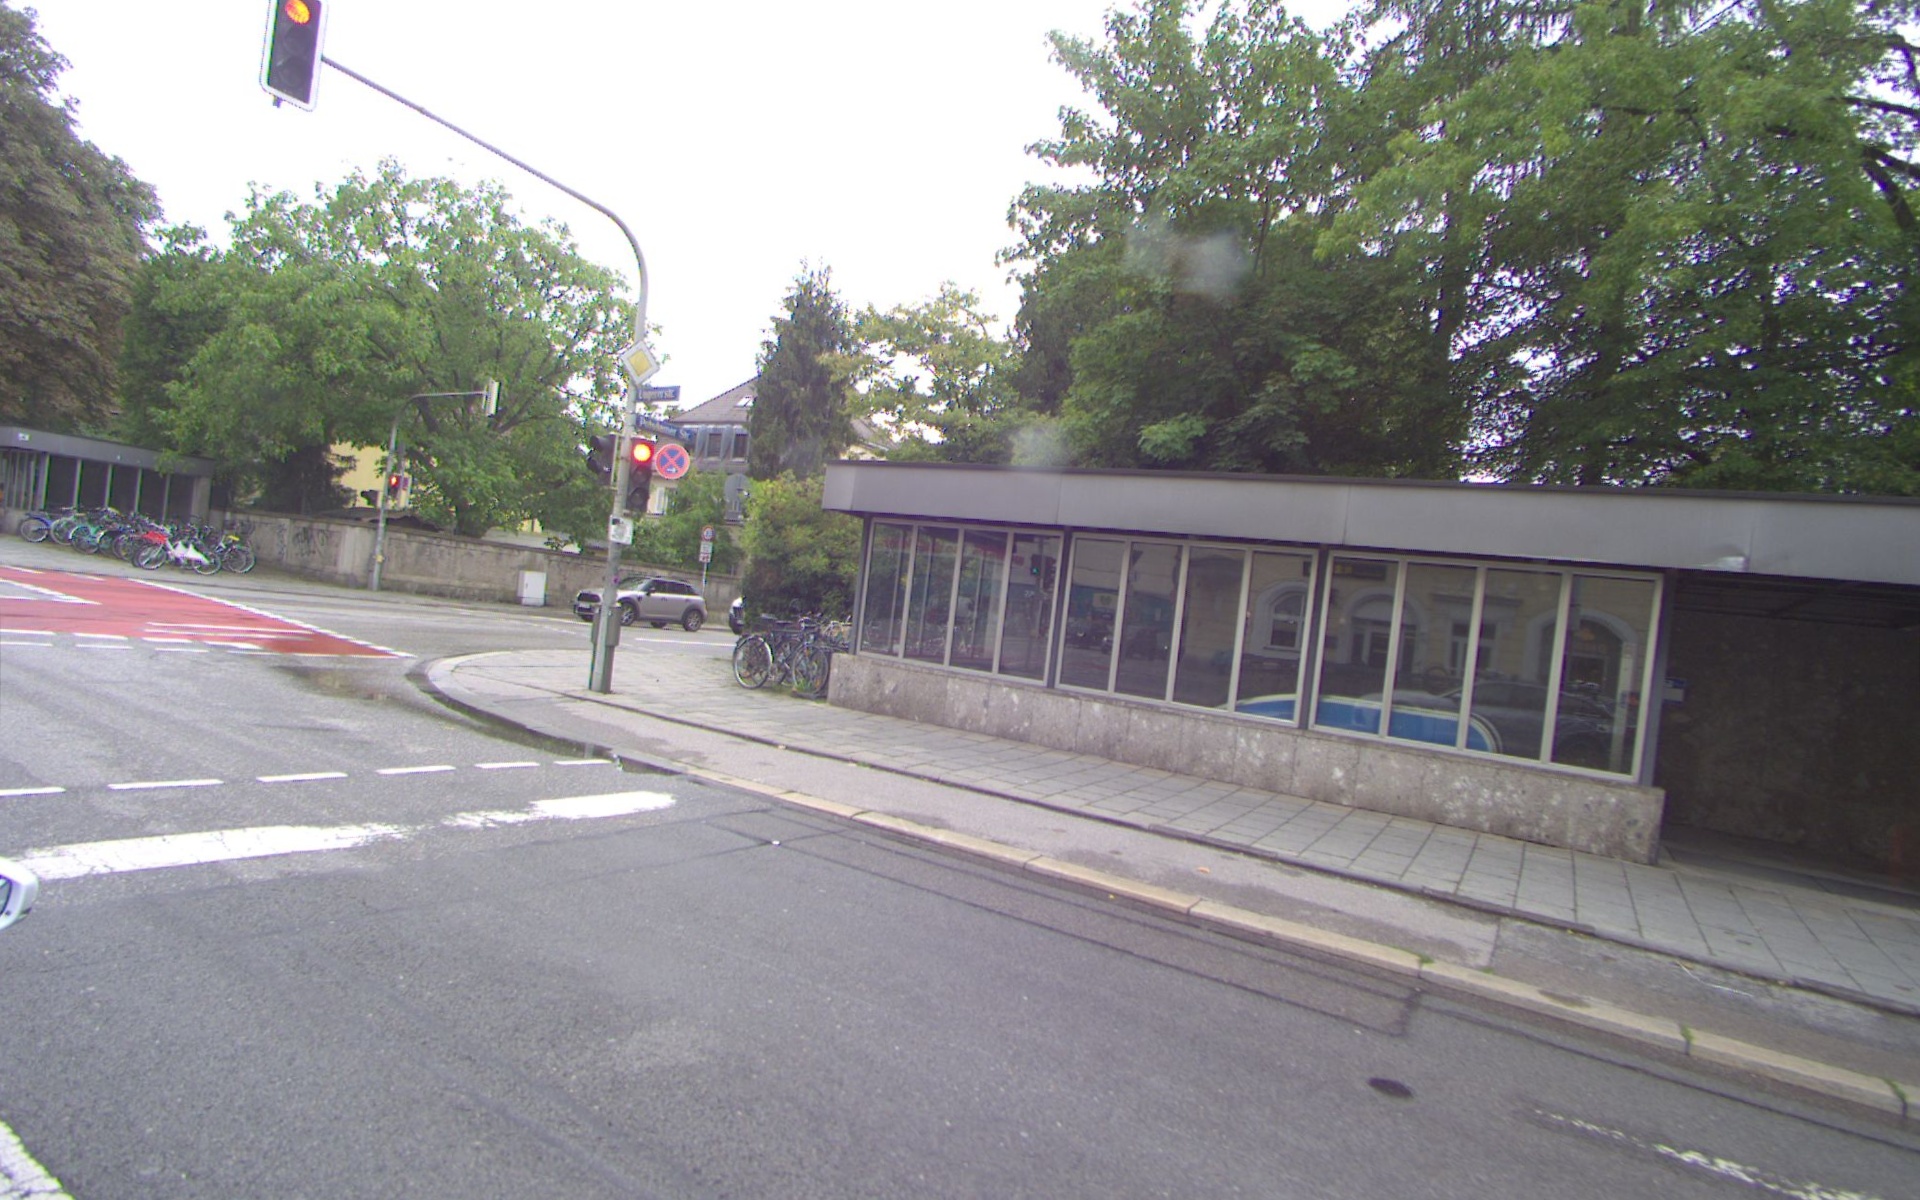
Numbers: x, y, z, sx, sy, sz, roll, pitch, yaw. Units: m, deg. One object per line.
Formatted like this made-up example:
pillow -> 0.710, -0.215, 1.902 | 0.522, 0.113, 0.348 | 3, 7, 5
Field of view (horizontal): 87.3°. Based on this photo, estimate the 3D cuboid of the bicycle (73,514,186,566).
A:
bicycle -> -21.755, -1.554, 26.390 | 0.594, 1.026, 2.141 | 7, 0, 39

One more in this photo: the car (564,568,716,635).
car -> -9.699, 0.082, 30.798 | 1.668, 1.532, 4.171 | 7, -1, 34

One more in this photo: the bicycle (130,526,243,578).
bicycle -> -19.707, -1.210, 25.679 | 0.625, 1.026, 2.141 | 7, 0, 40

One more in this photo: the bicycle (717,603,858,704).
bicycle -> -2.356, 0.704, 13.637 | 1.859, 1.135, 0.600 | 6, 0, 32

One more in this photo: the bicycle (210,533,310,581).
bicycle -> -19.505, -1.180, 28.076 | 0.625, 1.026, 2.141 | 7, 0, 40

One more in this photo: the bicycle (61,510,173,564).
bicycle -> -22.376, -1.664, 26.733 | 0.594, 1.099, 2.141 | 7, 0, 39

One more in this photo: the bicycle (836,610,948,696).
bicycle -> -1.078, 0.819, 15.763 | 1.707, 1.135, 0.469 | 6, 0, 32

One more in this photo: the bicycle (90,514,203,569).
bicycle -> -21.092, -1.491, 26.129 | 0.594, 1.114, 2.141 | 7, 0, 39

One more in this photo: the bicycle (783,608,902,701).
bicycle -> -1.732, 0.783, 14.703 | 1.707, 1.135, 0.469 | 6, 0, 32

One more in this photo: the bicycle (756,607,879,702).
bicycle -> -2.030, 0.751, 14.206 | 1.707, 1.135, 0.469 | 6, 0, 32

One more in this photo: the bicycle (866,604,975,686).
bicycle -> -0.659, 0.730, 16.408 | 1.707, 1.135, 0.469 | 6, 0, 32

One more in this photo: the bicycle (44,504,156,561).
bicycle -> -23.051, -1.796, 27.004 | 0.594, 1.192, 2.141 | 7, 0, 39

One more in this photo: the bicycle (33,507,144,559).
bicycle -> -23.656, -1.806, 27.342 | 0.594, 1.075, 2.141 | 7, 0, 39

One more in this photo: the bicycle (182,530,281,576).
bicycle -> -20.841, -1.334, 28.821 | 0.625, 1.026, 2.141 | 7, 0, 40

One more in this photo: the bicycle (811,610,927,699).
bicycle -> -1.391, 0.816, 15.250 | 1.707, 1.135, 0.469 | 6, 0, 32

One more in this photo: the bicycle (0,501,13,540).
bicycle -> -27.649, -2.330, 28.522 | 1.981, 1.027, 0.557 | 7, 0, 30

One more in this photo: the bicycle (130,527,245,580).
bicycle -> -19.295, -1.154, 25.185 | 0.594, 1.026, 2.141 | 7, 0, 39

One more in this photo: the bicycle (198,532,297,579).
bicycle -> -20.140, -1.250, 28.479 | 0.625, 1.026, 2.141 | 7, 0, 40

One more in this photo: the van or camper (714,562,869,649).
van or camper -> -5.913, 0.273, 36.098 | 2.034, 2.499, 5.558 | 7, -1, 33

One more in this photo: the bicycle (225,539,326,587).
bicycle -> -18.829, -1.000, 27.707 | 0.625, 1.026, 2.141 | 7, 0, 40

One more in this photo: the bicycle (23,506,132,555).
bicycle -> -24.369, -1.917, 27.824 | 0.594, 1.026, 2.141 | 7, 0, 39

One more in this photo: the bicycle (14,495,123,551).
bicycle -> -24.946, -2.151, 28.196 | 0.594, 1.233, 2.141 | 7, 0, 39

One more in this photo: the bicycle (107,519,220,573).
bicycle -> -20.483, -1.368, 25.907 | 0.594, 1.084, 2.141 | 7, 0, 39
